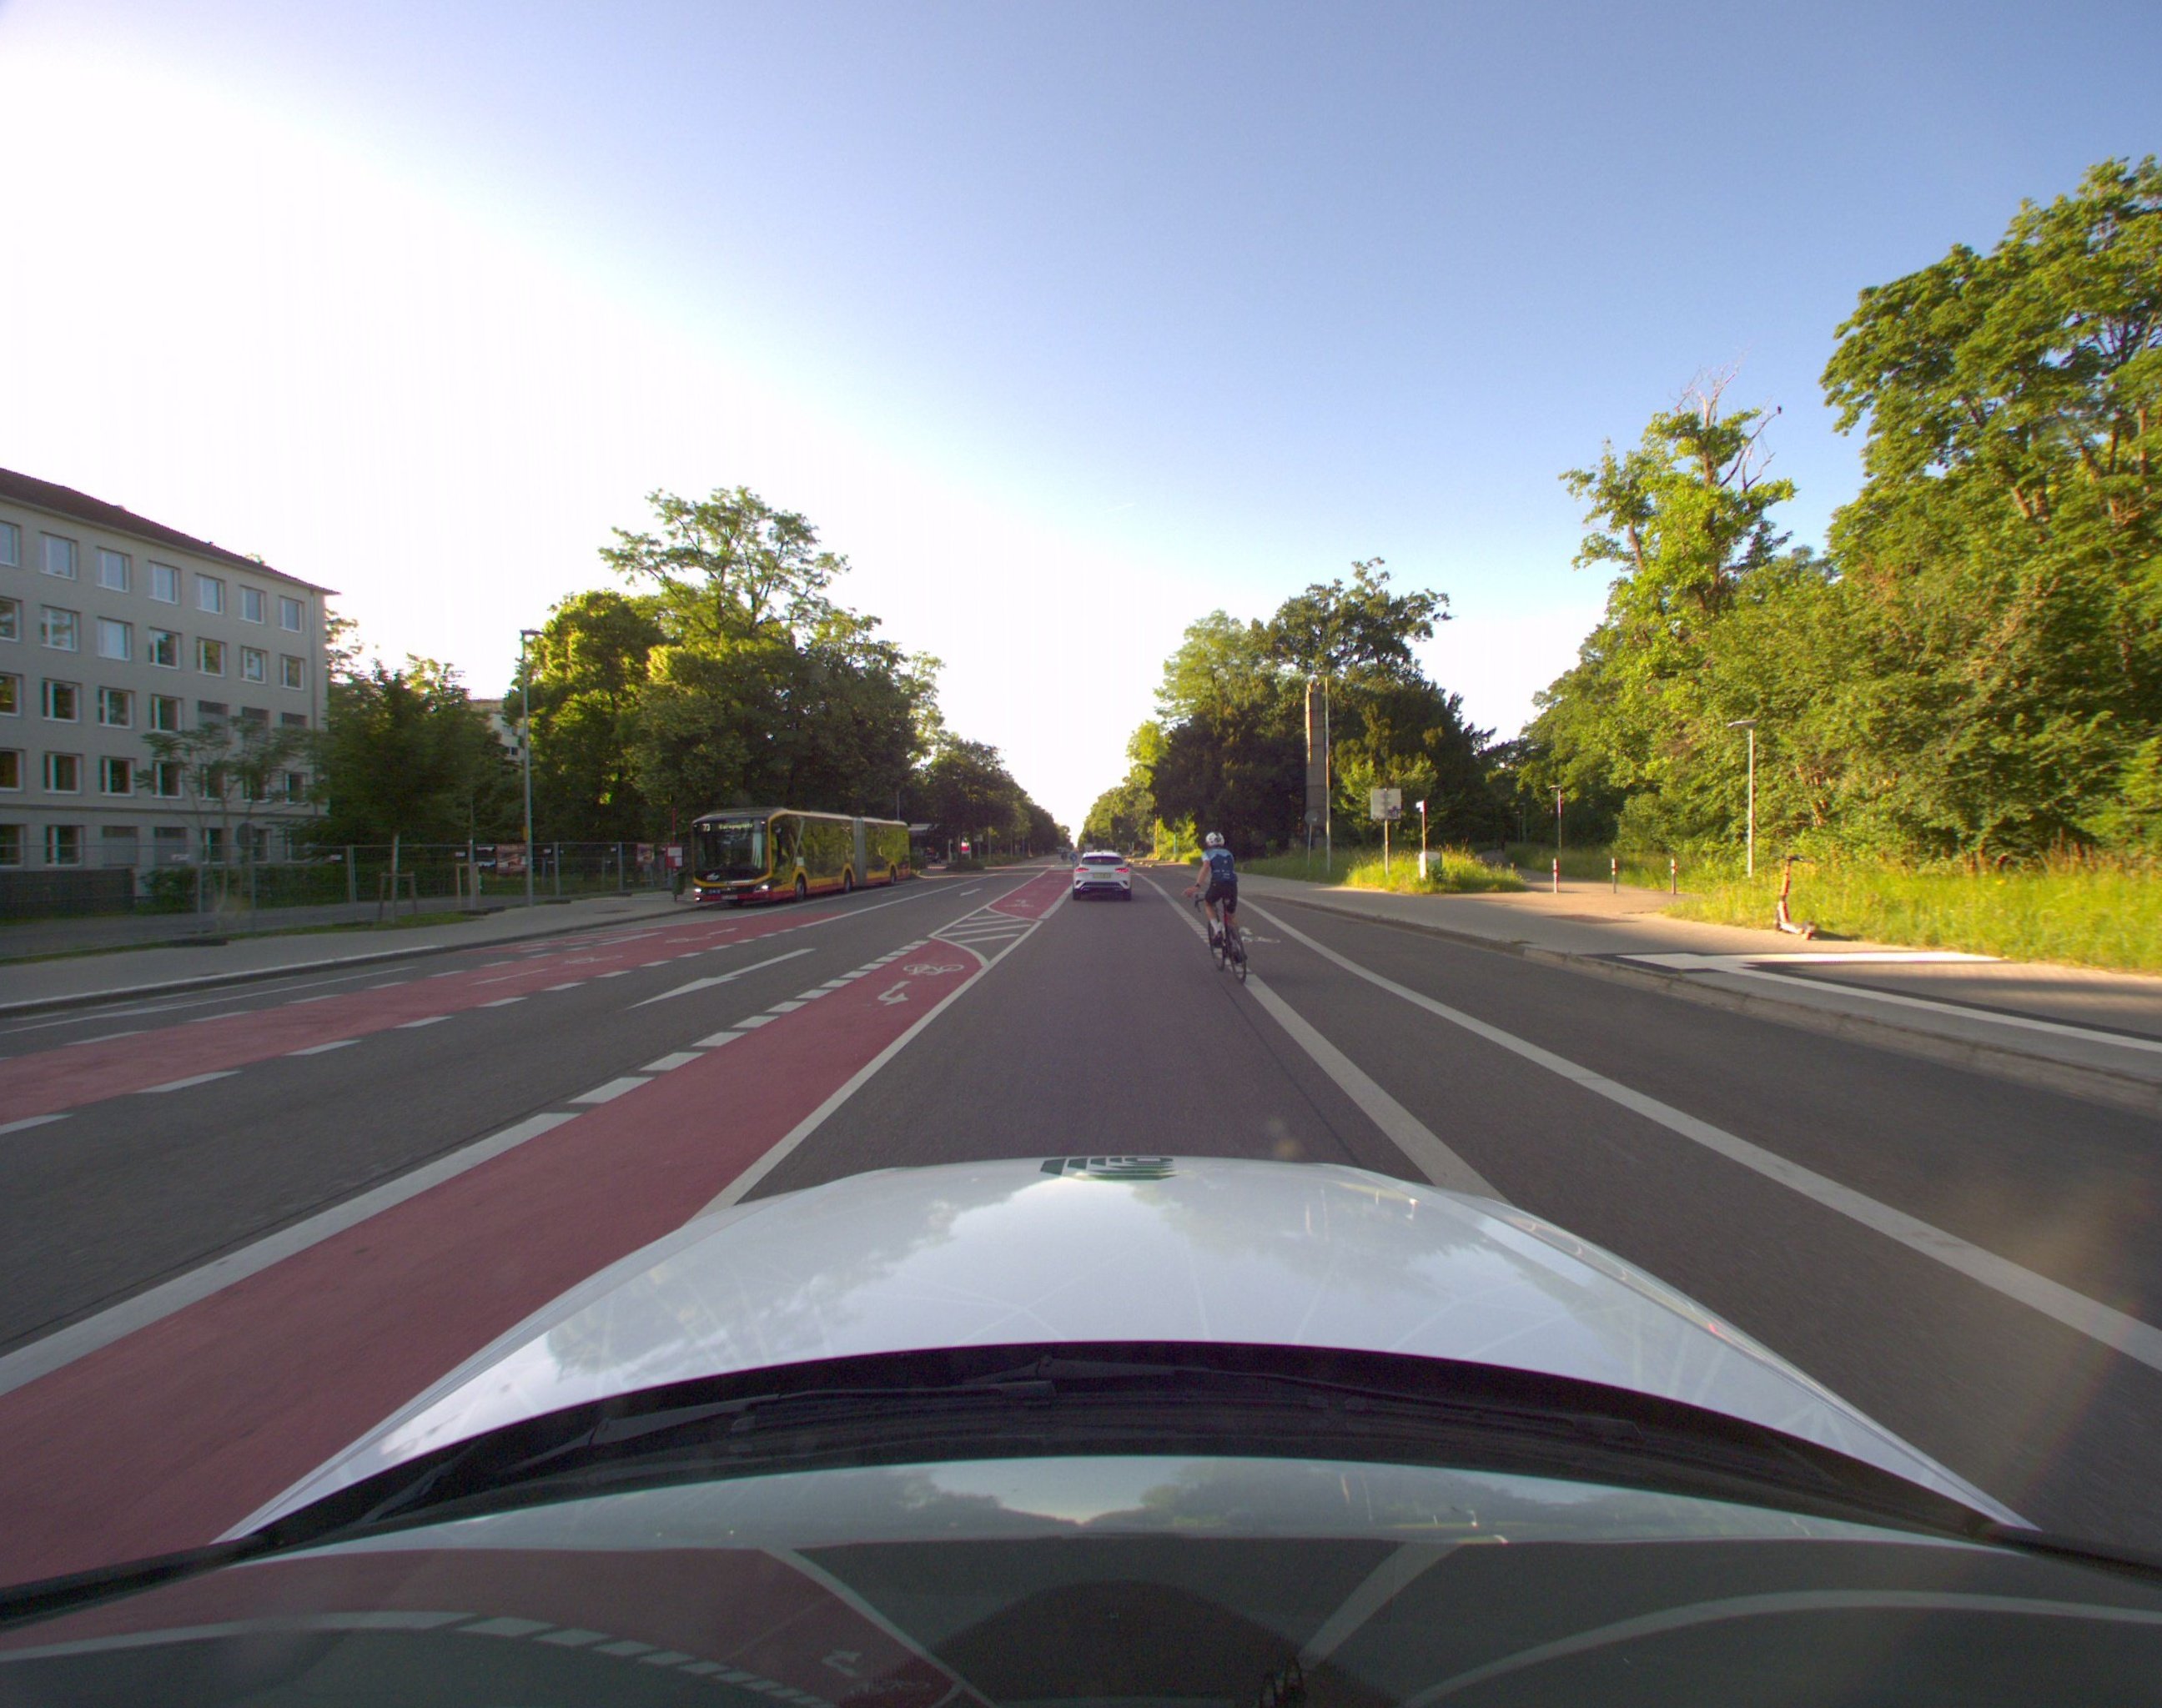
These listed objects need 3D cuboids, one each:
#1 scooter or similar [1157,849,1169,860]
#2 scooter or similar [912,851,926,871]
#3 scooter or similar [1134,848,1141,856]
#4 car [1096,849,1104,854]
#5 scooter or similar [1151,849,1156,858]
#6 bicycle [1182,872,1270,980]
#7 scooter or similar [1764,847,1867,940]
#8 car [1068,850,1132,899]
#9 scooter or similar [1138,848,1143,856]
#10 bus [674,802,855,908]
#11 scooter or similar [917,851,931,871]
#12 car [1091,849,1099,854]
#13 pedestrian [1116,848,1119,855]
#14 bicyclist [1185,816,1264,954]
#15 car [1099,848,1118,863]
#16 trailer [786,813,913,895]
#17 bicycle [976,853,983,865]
[{"bbox_3d":[9.669,0.009,95.669,1.550,1.250,0.528,-2,0,-43],"label":"scooter or similar"},{"bbox_3d":[-14.324,0.615,71.930,0.824,1.717,1.741,-1,0,1],"label":"scooter or similar"},{"bbox_3d":[10.151,-0.350,145.313,0.683,1.423,1.673,-1,0,-15],"label":"scooter or similar"},{"bbox_3d":[5.125,-0.644,221.677,1.987,1.327,3.999,-1,0,-1],"label":"car"},{"bbox_3d":[10.111,-0.088,113.524,0.531,1.250,1.541,-1,0,0],"label":"scooter or similar"},{"bbox_3d":[1.705,0.802,9.899,0.887,1.095,2.139,0,1,6],"label":"bicycle"},{"bbox_3d":[10.599,0.536,11.803,0.715,1.247,1.335,-1,0,24],"label":"scooter or similar"},{"bbox_3d":[0.531,0.612,26.279,1.757,1.459,3.813,0,0,-4],"label":"car"},{"bbox_3d":[10.180,-0.311,139.290,0.680,1.423,1.681,-1,0,0],"label":"scooter or similar"},{"bbox_3d":[-10.997,0.018,29.511,2.829,3.196,8.604,-2,0,2],"label":"bus"},{"bbox_3d":[-14.246,0.613,73.873,0.824,1.717,1.741,-1,0,1],"label":"scooter or similar"},{"bbox_3d":[4.105,-0.717,237.367,1.989,1.327,3.995,-1,0,-4],"label":"car"},{"bbox_3d":[9.093,-0.545,202.771,0.696,1.653,0.876,-1,0,-1],"label":"pedestrian"},{"bbox_3d":[1.683,0.348,9.695,0.855,1.567,0.882,0,0,5],"label":"bicyclist"},{"bbox_3d":[2.716,0.117,78.630,1.669,1.417,3.577,-2,0,4],"label":"car"},{"bbox_3d":[-10.581,-0.014,38.484,2.843,3.355,9.369,1,0,3],"label":"trailer"},{"bbox_3d":[-10.929,0.572,87.696,0.653,1.250,2.156,-1,0,-5],"label":"bicycle"}]
